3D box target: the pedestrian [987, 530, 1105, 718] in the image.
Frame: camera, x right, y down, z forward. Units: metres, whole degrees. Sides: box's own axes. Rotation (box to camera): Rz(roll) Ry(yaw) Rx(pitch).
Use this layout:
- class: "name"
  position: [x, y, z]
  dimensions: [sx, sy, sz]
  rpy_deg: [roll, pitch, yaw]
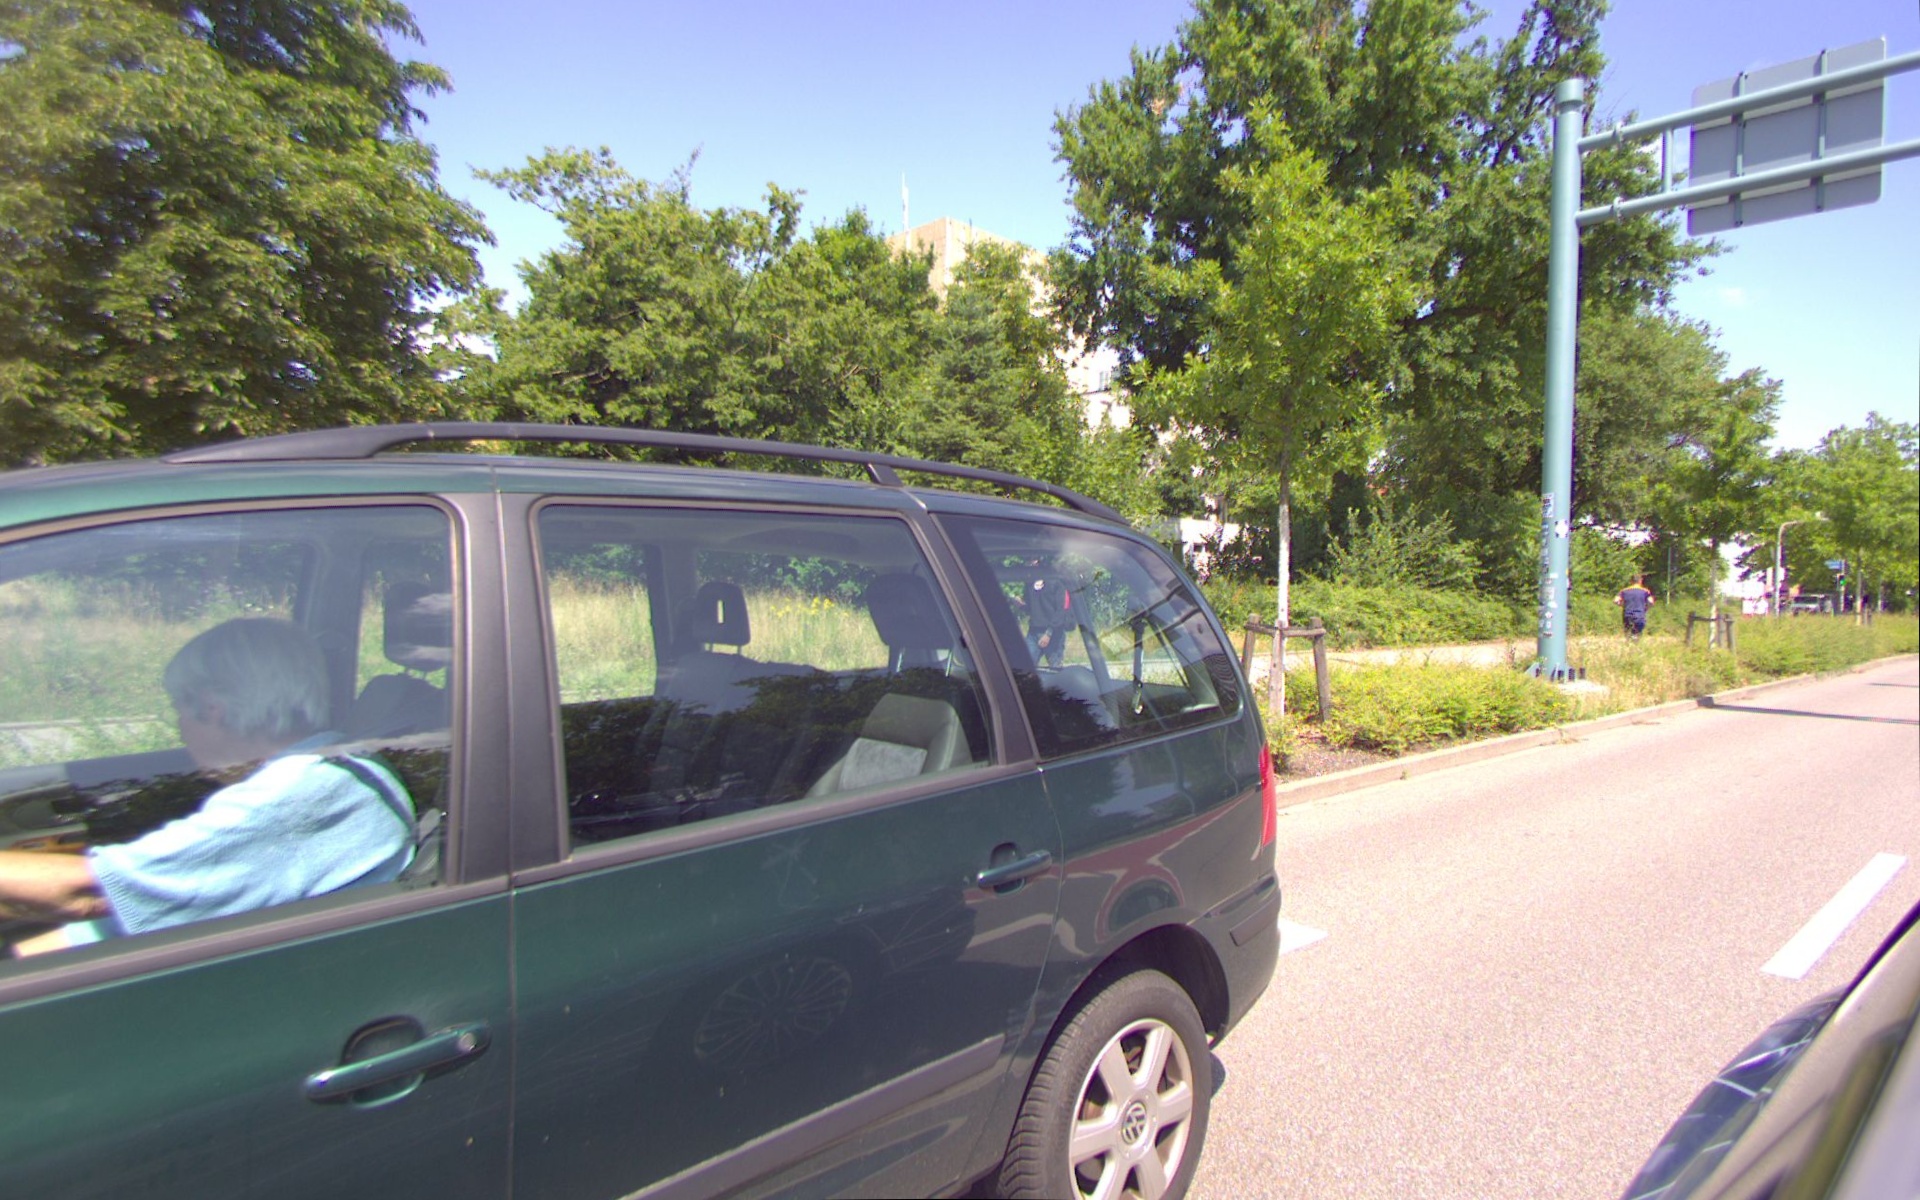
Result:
- class: "pedestrian"
  position: [0.817, 0.212, 9.665]
  dimensions: [0.799, 1.705, 0.762]
  rpy_deg: [1, 1, -29]

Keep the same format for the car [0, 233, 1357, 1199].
- class: "car"
  position: [-1.148, 0.523, 1.961]
  dimensions: [4.315, 1.737, 1.804]
  rpy_deg: [0, -1, -41]

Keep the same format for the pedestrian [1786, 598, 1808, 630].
- class: "pedestrian"
  position: [43.127, 0.727, 52.159]
  dimensions: [0.762, 1.630, 0.756]
  rpy_deg: [2, 0, 34]

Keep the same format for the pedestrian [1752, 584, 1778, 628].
- class: "pedestrian"
  position: [39.129, 0.283, 49.193]
  dimensions: [0.840, 2.063, 0.891]
  rpy_deg: [2, 0, 33]

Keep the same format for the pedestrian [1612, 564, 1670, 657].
- class: "pedestrian"
  position: [13.465, 0.204, 20.010]
  dimensions: [0.869, 1.787, 0.640]
  rpy_deg: [1, 1, -35]
